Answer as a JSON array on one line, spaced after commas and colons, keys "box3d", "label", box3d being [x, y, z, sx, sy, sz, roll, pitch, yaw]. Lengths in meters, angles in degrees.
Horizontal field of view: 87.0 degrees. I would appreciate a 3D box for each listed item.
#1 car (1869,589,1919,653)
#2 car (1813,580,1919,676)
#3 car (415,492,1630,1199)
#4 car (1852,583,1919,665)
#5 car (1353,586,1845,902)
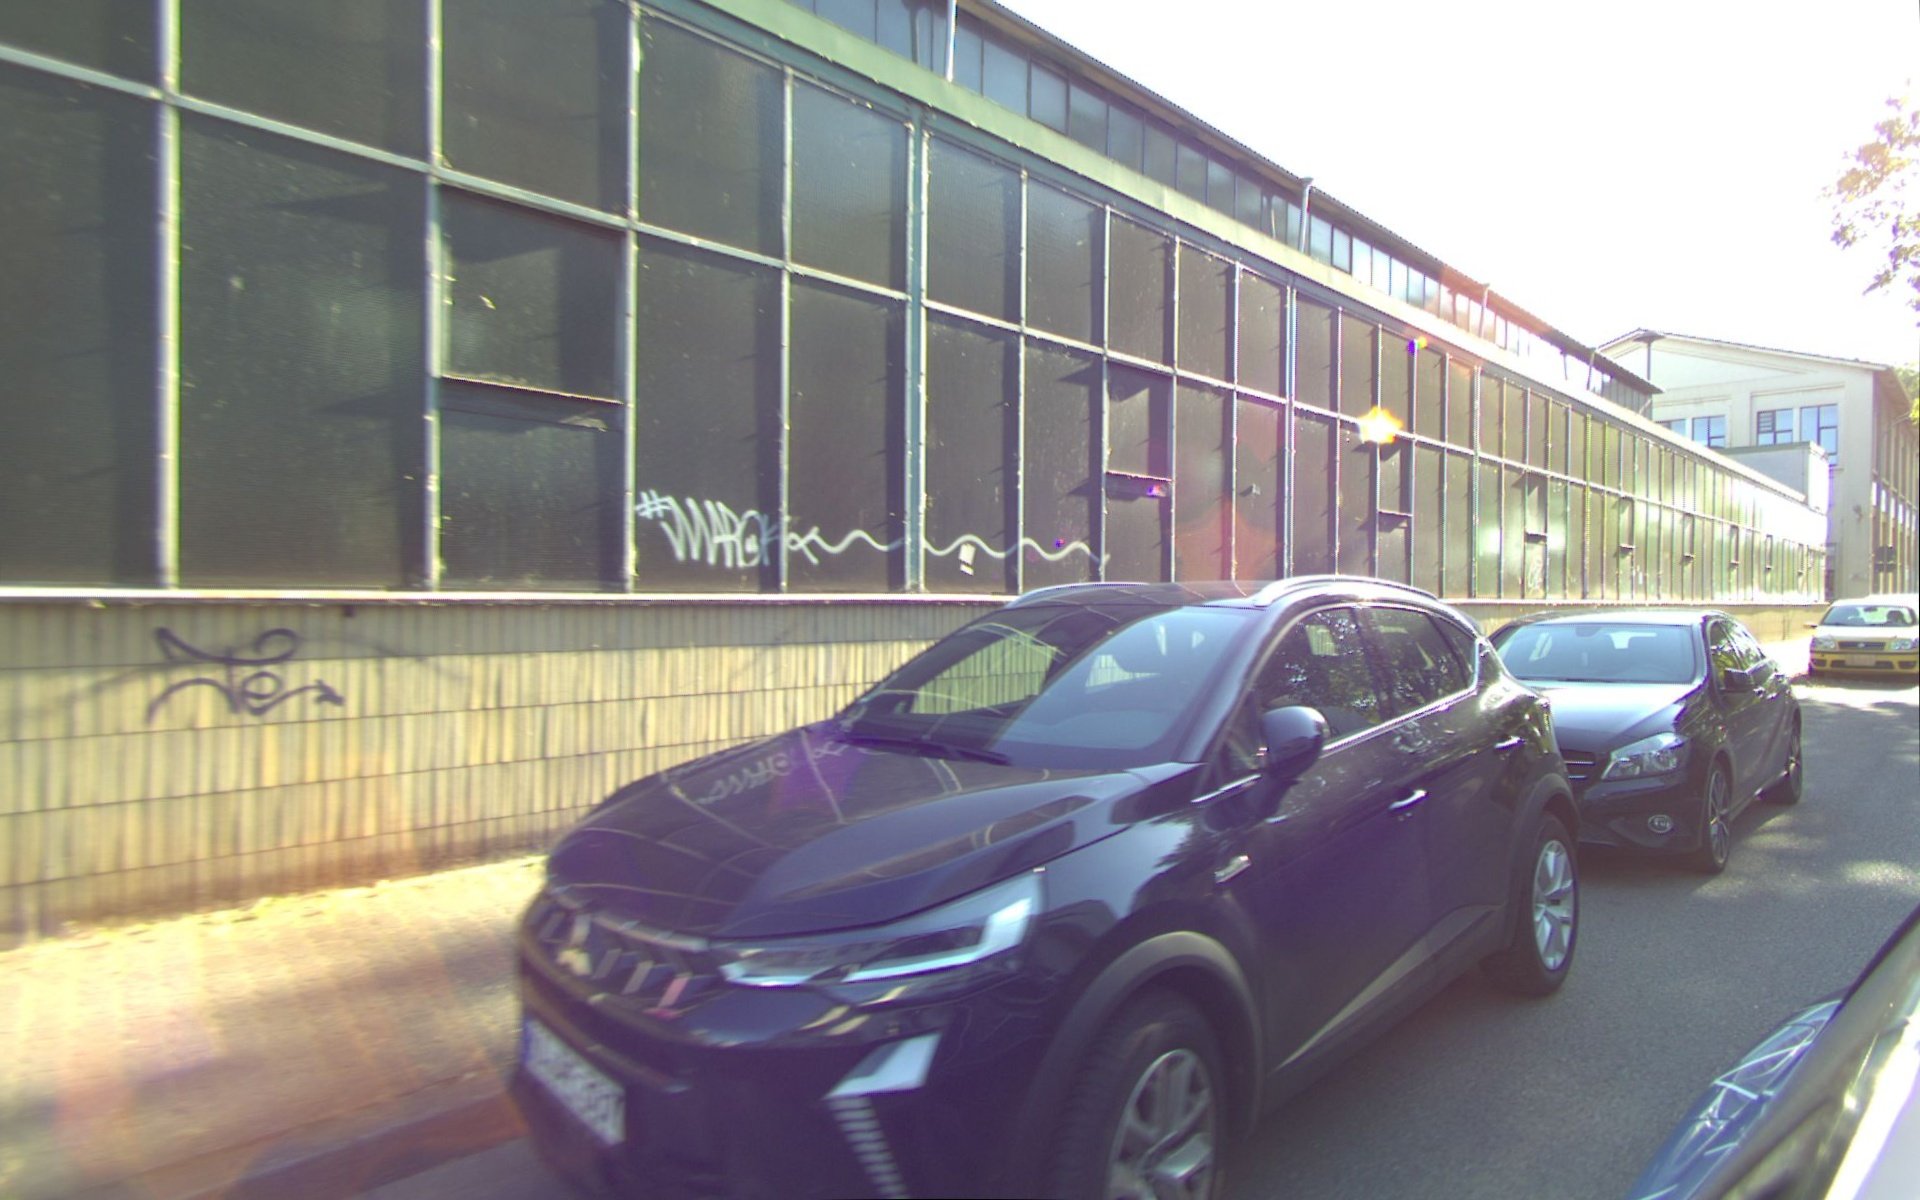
[{"box3d": [24.621, 0.487, 25.790, 4.456, 1.512, 1.901, -1, 0, -45], "label": "car"}, {"box3d": [17.534, 0.464, 19.181, 3.937, 1.655, 1.751, -1, 0, -45], "label": "car"}, {"box3d": [0.722, 0.647, 3.562, 4.333, 1.607, 1.808, -1, -1, -44], "label": "car"}, {"box3d": [20.747, 0.455, 21.901, 4.237, 1.655, 1.752, -1, 0, -43], "label": "car"}, {"box3d": [4.702, 0.699, 7.111, 4.543, 1.510, 1.752, -1, -1, -42], "label": "car"}]
